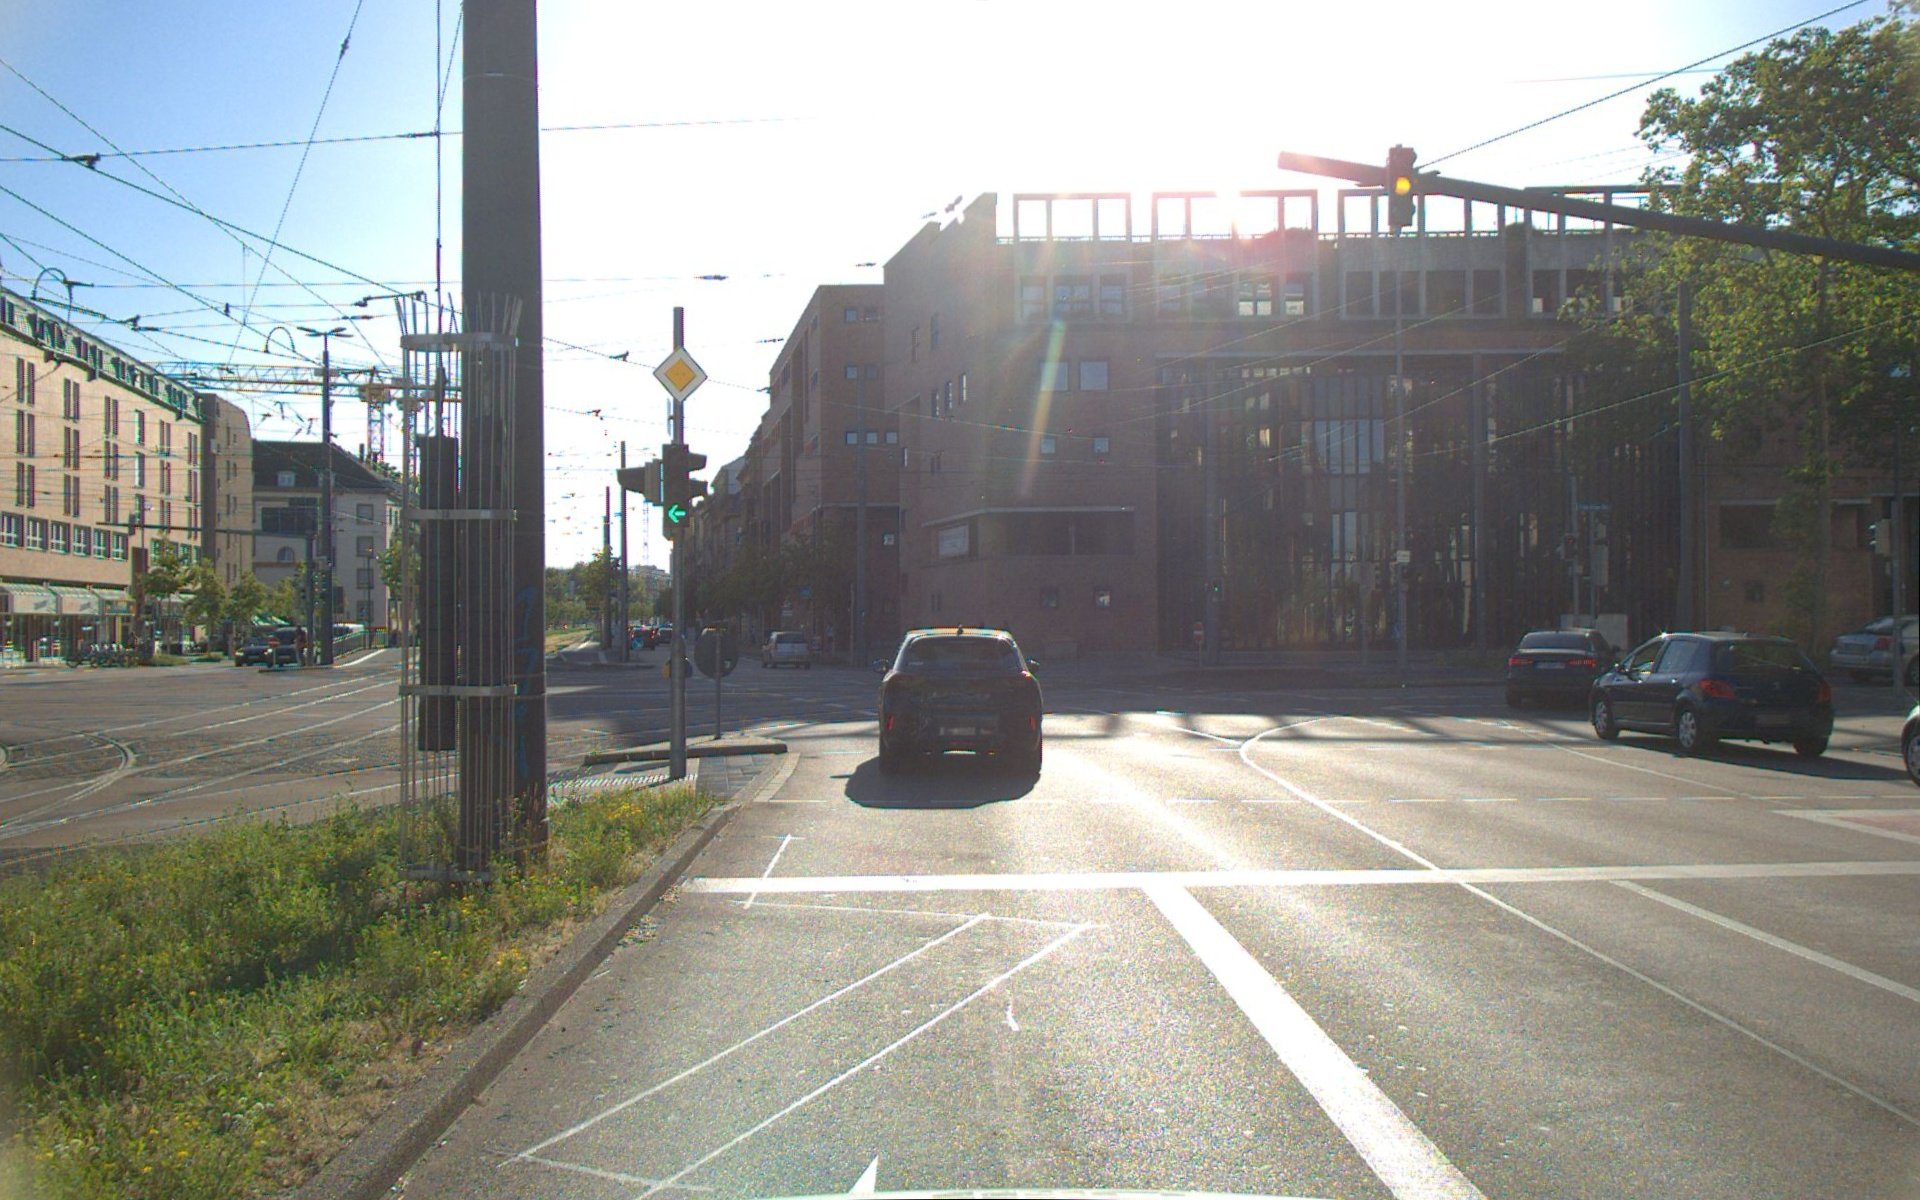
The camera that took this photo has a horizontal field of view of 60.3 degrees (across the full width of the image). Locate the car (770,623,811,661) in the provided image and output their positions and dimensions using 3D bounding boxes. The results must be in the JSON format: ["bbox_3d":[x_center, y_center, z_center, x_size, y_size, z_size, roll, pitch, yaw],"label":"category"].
[{"bbox_3d":[-6.916,1.708,67.356,1.531,1.482,3.425,-1,-1,-8],"label":"car"}]

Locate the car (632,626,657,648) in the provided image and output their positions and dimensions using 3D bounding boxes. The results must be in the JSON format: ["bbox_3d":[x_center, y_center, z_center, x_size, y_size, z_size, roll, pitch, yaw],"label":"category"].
[{"bbox_3d":[-22.389,2.613,117.257,1.690,1.479,3.687,-1,-1,-11],"label":"car"}]

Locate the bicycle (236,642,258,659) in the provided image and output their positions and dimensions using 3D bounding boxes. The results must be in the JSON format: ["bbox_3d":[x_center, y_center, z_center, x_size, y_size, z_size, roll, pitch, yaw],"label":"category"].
[{"bbox_3d":[-45.122,3.171,104.643,0.796,1.008,2.500,-1,-1,-13],"label":"bicycle"}]

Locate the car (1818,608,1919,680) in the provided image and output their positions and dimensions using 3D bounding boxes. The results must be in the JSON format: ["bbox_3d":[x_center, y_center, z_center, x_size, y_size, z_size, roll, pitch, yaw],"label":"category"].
[{"bbox_3d":[21.033,0.926,36.115,3.899,1.500,1.695,-1,-1,-12],"label":"car"}]

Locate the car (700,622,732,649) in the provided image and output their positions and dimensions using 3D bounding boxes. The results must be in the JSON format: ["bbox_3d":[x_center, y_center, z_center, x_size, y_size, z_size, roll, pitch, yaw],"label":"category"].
[{"bbox_3d":[-14.186,2.048,96.120,1.641,1.479,3.687,-1,-1,-11],"label":"car"}]

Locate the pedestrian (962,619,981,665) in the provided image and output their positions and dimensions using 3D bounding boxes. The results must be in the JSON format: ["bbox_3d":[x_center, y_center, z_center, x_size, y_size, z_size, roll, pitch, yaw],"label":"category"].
[{"bbox_3d":[0.456,1.666,66.249,0.563,1.817,0.546,-1,-1,-20],"label":"pedestrian"}]

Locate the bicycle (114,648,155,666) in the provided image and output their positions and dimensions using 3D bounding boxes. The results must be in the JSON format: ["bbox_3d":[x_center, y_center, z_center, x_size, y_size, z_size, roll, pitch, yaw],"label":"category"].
[{"bbox_3d":[-45.967,3.187,92.092,1.992,0.937,0.483,-1,-1,-1],"label":"bicycle"}]

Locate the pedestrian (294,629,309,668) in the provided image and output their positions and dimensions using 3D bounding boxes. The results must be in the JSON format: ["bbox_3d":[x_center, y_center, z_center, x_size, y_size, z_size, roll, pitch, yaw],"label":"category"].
[{"bbox_3d":[-27.408,2.007,68.841,0.573,1.604,0.641,0,-1,-25],"label":"pedestrian"}]

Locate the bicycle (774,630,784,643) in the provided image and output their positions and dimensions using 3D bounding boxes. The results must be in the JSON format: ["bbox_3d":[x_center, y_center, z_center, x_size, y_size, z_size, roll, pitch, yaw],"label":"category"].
[{"bbox_3d":[-13.133,2.651,119.976,0.636,0.920,2.340,0,-1,-10],"label":"bicycle"}]

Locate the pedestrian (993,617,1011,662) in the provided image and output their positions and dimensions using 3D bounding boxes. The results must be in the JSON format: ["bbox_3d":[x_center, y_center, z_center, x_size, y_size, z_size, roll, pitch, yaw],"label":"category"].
[{"bbox_3d":[1.713,1.628,67.531,0.563,1.817,0.546,-1,-1,-20],"label":"pedestrian"}]

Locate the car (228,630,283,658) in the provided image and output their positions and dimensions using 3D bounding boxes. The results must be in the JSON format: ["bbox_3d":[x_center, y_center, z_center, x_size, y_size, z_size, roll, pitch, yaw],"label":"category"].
[{"bbox_3d":[-35.577,2.210,83.622,1.808,1.290,4.215,-2,-1,-13],"label":"car"}]

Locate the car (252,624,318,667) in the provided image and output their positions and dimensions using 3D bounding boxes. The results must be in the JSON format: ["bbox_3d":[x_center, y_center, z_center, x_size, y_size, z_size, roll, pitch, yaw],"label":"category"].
[{"bbox_3d":[-30.993,2.067,76.048,1.805,1.868,4.099,-2,-1,-8],"label":"car"}]

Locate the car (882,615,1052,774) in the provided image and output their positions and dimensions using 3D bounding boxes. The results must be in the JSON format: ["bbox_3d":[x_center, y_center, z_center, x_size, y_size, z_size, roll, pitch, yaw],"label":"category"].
[{"bbox_3d":[0.047,0.944,17.955,1.638,1.528,3.689,1,-1,-1],"label":"car"}]

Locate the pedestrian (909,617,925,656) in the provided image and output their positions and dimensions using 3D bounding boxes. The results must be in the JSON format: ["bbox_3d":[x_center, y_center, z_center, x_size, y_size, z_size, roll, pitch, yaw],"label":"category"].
[{"bbox_3d":[-2.021,1.706,78.329,0.628,1.817,0.687,-1,-1,-9],"label":"pedestrian"}]

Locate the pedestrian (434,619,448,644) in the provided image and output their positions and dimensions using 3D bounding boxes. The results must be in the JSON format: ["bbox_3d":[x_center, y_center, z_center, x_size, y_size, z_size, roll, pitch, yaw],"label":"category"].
[{"bbox_3d":[-35.421,2.142,112.866,0.849,1.699,0.779,0,0,-22],"label":"pedestrian"}]

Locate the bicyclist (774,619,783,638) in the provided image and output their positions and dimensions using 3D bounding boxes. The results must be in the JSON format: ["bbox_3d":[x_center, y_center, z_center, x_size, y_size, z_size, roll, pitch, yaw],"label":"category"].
[{"bbox_3d":[-13.154,2.058,120.000,0.634,1.363,0.651,-1,-1,-10],"label":"bicyclist"}]

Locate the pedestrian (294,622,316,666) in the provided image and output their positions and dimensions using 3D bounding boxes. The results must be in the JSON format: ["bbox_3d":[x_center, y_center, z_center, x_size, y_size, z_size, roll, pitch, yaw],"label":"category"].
[{"bbox_3d":[-26.532,1.761,67.037,0.708,1.757,0.593,-1,-1,-11],"label":"pedestrian"}]

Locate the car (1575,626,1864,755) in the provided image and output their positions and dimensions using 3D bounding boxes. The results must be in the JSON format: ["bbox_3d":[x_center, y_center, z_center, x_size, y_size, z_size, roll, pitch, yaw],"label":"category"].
[{"bbox_3d":[9.837,1.112,21.788,1.824,1.500,3.975,-1,-1,-3],"label":"car"}]

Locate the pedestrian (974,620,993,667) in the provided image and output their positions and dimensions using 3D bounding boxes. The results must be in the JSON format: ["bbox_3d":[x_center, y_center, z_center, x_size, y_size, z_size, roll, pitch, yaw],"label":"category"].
[{"bbox_3d":[0.914,1.714,65.598,0.563,1.817,0.546,-1,-1,-20],"label":"pedestrian"}]

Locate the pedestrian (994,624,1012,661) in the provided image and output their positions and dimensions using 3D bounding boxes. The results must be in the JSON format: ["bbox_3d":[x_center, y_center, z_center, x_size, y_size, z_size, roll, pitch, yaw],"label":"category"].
[{"bbox_3d":[1.786,1.745,68.639,0.541,1.503,0.568,0,0,-29],"label":"pedestrian"}]

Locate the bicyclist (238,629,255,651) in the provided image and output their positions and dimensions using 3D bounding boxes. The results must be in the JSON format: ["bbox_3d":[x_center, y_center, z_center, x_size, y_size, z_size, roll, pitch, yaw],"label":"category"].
[{"bbox_3d":[-45.112,2.527,104.536,0.796,1.401,0.922,-1,-1,-13],"label":"bicyclist"}]

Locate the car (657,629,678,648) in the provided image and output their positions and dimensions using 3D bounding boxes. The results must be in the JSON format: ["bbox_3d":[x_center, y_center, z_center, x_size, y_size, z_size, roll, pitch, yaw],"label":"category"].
[{"bbox_3d":[-25.026,3.277,141.406,1.690,1.479,3.687,-1,-1,-11],"label":"car"}]

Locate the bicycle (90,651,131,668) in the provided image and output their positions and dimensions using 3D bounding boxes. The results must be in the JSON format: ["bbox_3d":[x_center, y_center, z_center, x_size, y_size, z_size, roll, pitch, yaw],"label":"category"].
[{"bbox_3d":[-45.992,3.203,89.548,1.992,0.860,0.483,-1,-1,-1],"label":"bicycle"}]

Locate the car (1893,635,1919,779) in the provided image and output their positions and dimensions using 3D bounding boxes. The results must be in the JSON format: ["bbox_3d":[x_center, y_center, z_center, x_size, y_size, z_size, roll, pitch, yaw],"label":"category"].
[{"bbox_3d":[10.359,1.040,15.052,1.628,1.413,3.534,1,-1,-3],"label":"car"}]

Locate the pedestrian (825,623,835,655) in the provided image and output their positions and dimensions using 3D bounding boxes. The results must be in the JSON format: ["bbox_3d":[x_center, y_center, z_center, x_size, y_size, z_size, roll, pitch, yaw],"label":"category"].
[{"bbox_3d":[-7.569,2.254,96.202,0.537,1.817,0.572,-1,2,-9],"label":"pedestrian"}]

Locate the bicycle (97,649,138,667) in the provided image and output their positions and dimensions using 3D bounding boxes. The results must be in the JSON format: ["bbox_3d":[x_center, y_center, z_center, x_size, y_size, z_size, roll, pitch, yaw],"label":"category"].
[{"bbox_3d":[-46.311,3.200,90.915,1.992,0.937,0.483,-1,-1,-1],"label":"bicycle"}]

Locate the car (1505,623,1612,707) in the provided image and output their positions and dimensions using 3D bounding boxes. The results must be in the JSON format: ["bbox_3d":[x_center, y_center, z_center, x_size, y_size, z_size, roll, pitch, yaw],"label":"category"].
[{"bbox_3d":[11.281,1.173,31.052,1.661,1.465,4.017,-1,-1,23],"label":"car"}]

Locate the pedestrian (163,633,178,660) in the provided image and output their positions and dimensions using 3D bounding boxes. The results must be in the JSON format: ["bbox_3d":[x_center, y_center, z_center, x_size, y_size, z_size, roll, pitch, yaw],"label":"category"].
[{"bbox_3d":[-52.143,3.062,109.269,0.703,1.795,0.564,-2,-1,-9],"label":"pedestrian"}]
